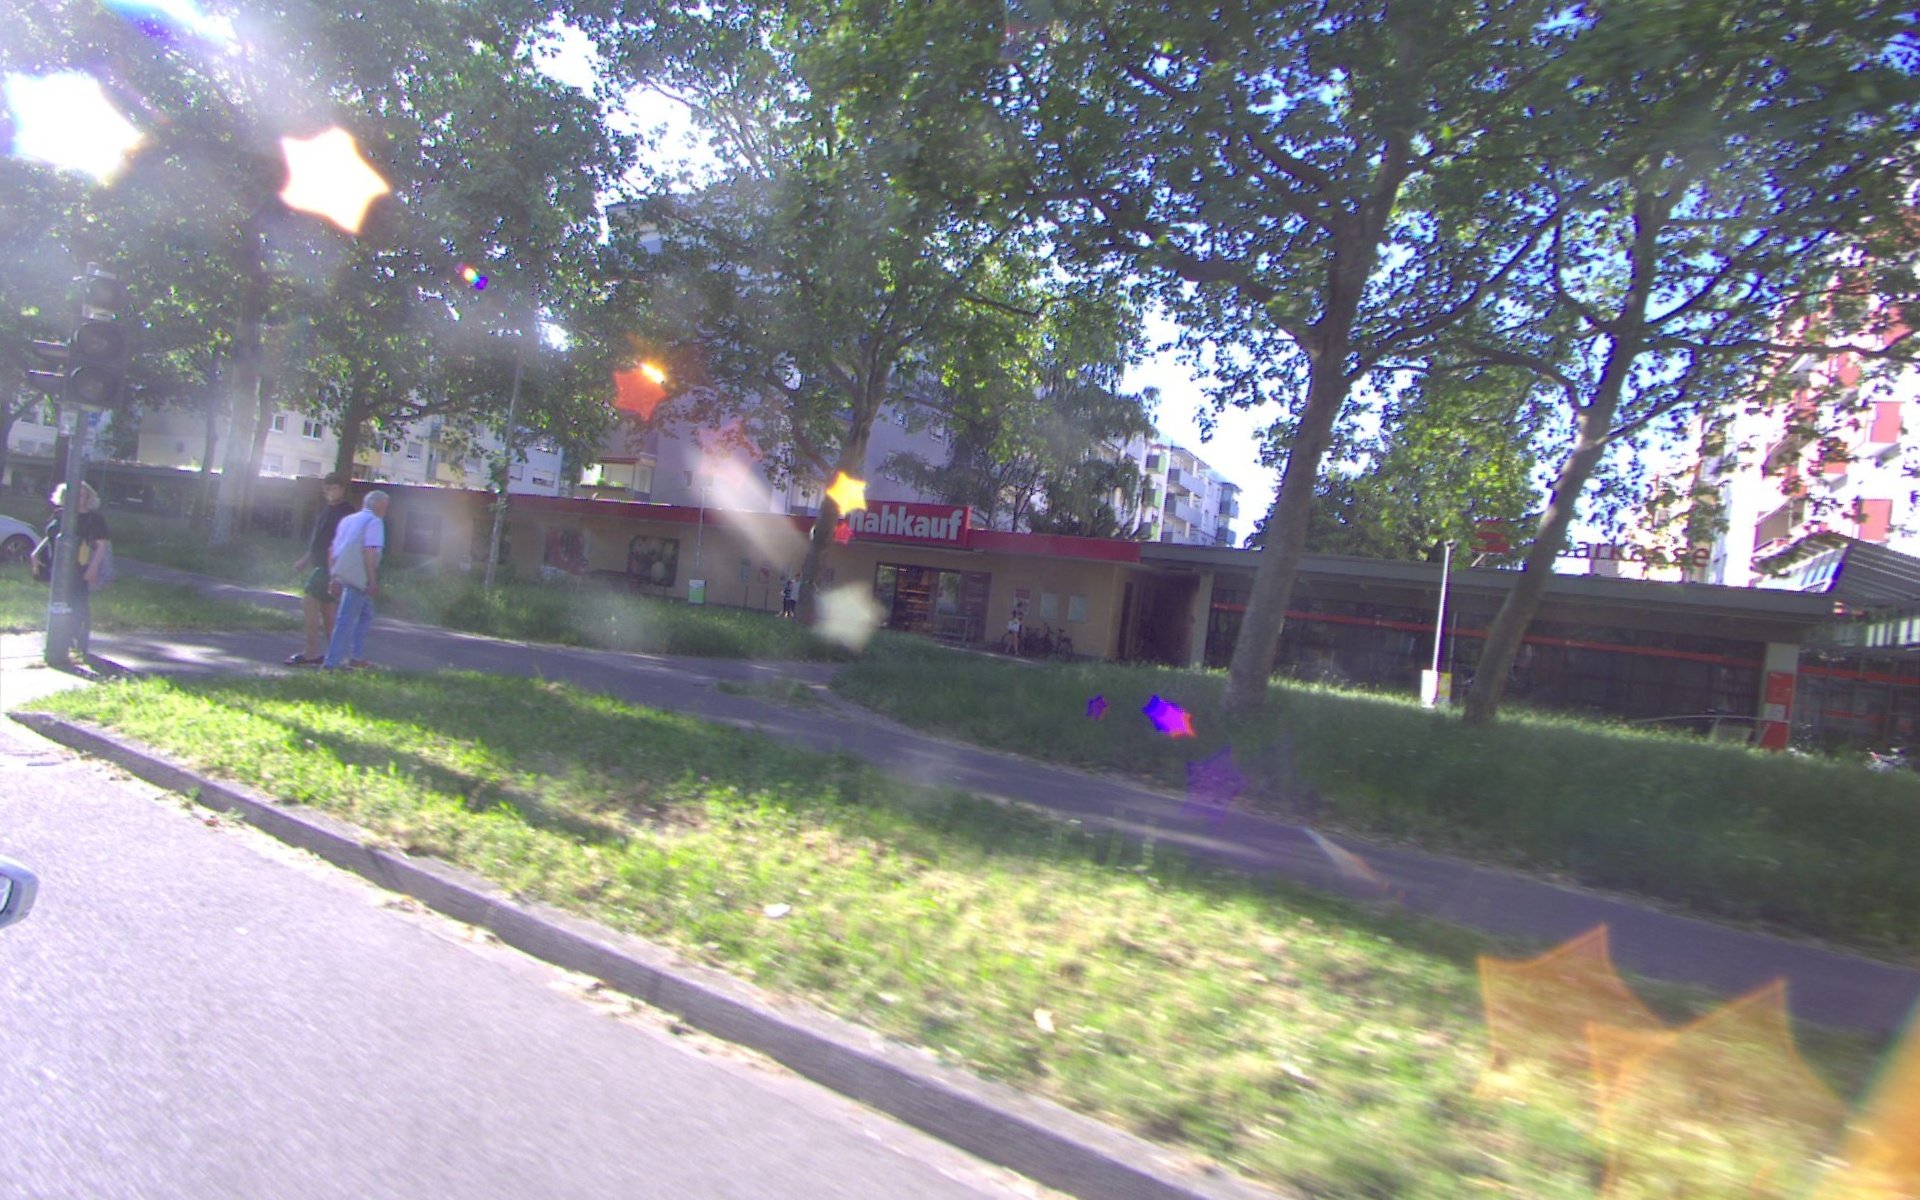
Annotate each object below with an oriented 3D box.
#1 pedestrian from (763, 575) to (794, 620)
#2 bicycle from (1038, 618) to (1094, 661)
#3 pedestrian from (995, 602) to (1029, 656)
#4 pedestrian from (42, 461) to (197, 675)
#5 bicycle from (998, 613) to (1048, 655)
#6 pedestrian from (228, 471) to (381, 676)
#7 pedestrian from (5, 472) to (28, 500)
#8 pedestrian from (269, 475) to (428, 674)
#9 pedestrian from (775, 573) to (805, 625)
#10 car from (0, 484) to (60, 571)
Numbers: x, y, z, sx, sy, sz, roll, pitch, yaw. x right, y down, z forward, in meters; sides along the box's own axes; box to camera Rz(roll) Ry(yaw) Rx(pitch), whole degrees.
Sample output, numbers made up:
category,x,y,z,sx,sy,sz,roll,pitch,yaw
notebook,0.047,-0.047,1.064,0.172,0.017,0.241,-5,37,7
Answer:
category,x,y,z,sx,sy,sz,roll,pitch,yaw
pedestrian,-6.338,-0.092,35.111,0.703,1.448,0.532,8,1,26
bicycle,3.444,1.286,32.869,0.594,1.193,1.832,8,-1,-37
pedestrian,1.670,0.937,32.388,0.703,1.604,0.672,8,1,26
pedestrian,-7.305,-0.270,8.774,0.642,1.728,0.712,6,2,-3
bicycle,2.078,1.114,33.497,0.593,1.193,1.836,8,-1,-31
pedestrian,-6.591,-0.252,10.125,0.912,1.908,0.799,7,1,30
pedestrian,-71.590,-8.657,76.298,0.855,1.938,0.875,7,1,23
pedestrian,-5.789,-0.222,9.543,0.815,1.744,0.843,7,1,28
pedestrian,-6.036,-0.035,35.737,0.703,1.721,0.495,8,1,26
car,-17.604,-1.319,16.644,1.728,1.489,3.994,6,2,0
